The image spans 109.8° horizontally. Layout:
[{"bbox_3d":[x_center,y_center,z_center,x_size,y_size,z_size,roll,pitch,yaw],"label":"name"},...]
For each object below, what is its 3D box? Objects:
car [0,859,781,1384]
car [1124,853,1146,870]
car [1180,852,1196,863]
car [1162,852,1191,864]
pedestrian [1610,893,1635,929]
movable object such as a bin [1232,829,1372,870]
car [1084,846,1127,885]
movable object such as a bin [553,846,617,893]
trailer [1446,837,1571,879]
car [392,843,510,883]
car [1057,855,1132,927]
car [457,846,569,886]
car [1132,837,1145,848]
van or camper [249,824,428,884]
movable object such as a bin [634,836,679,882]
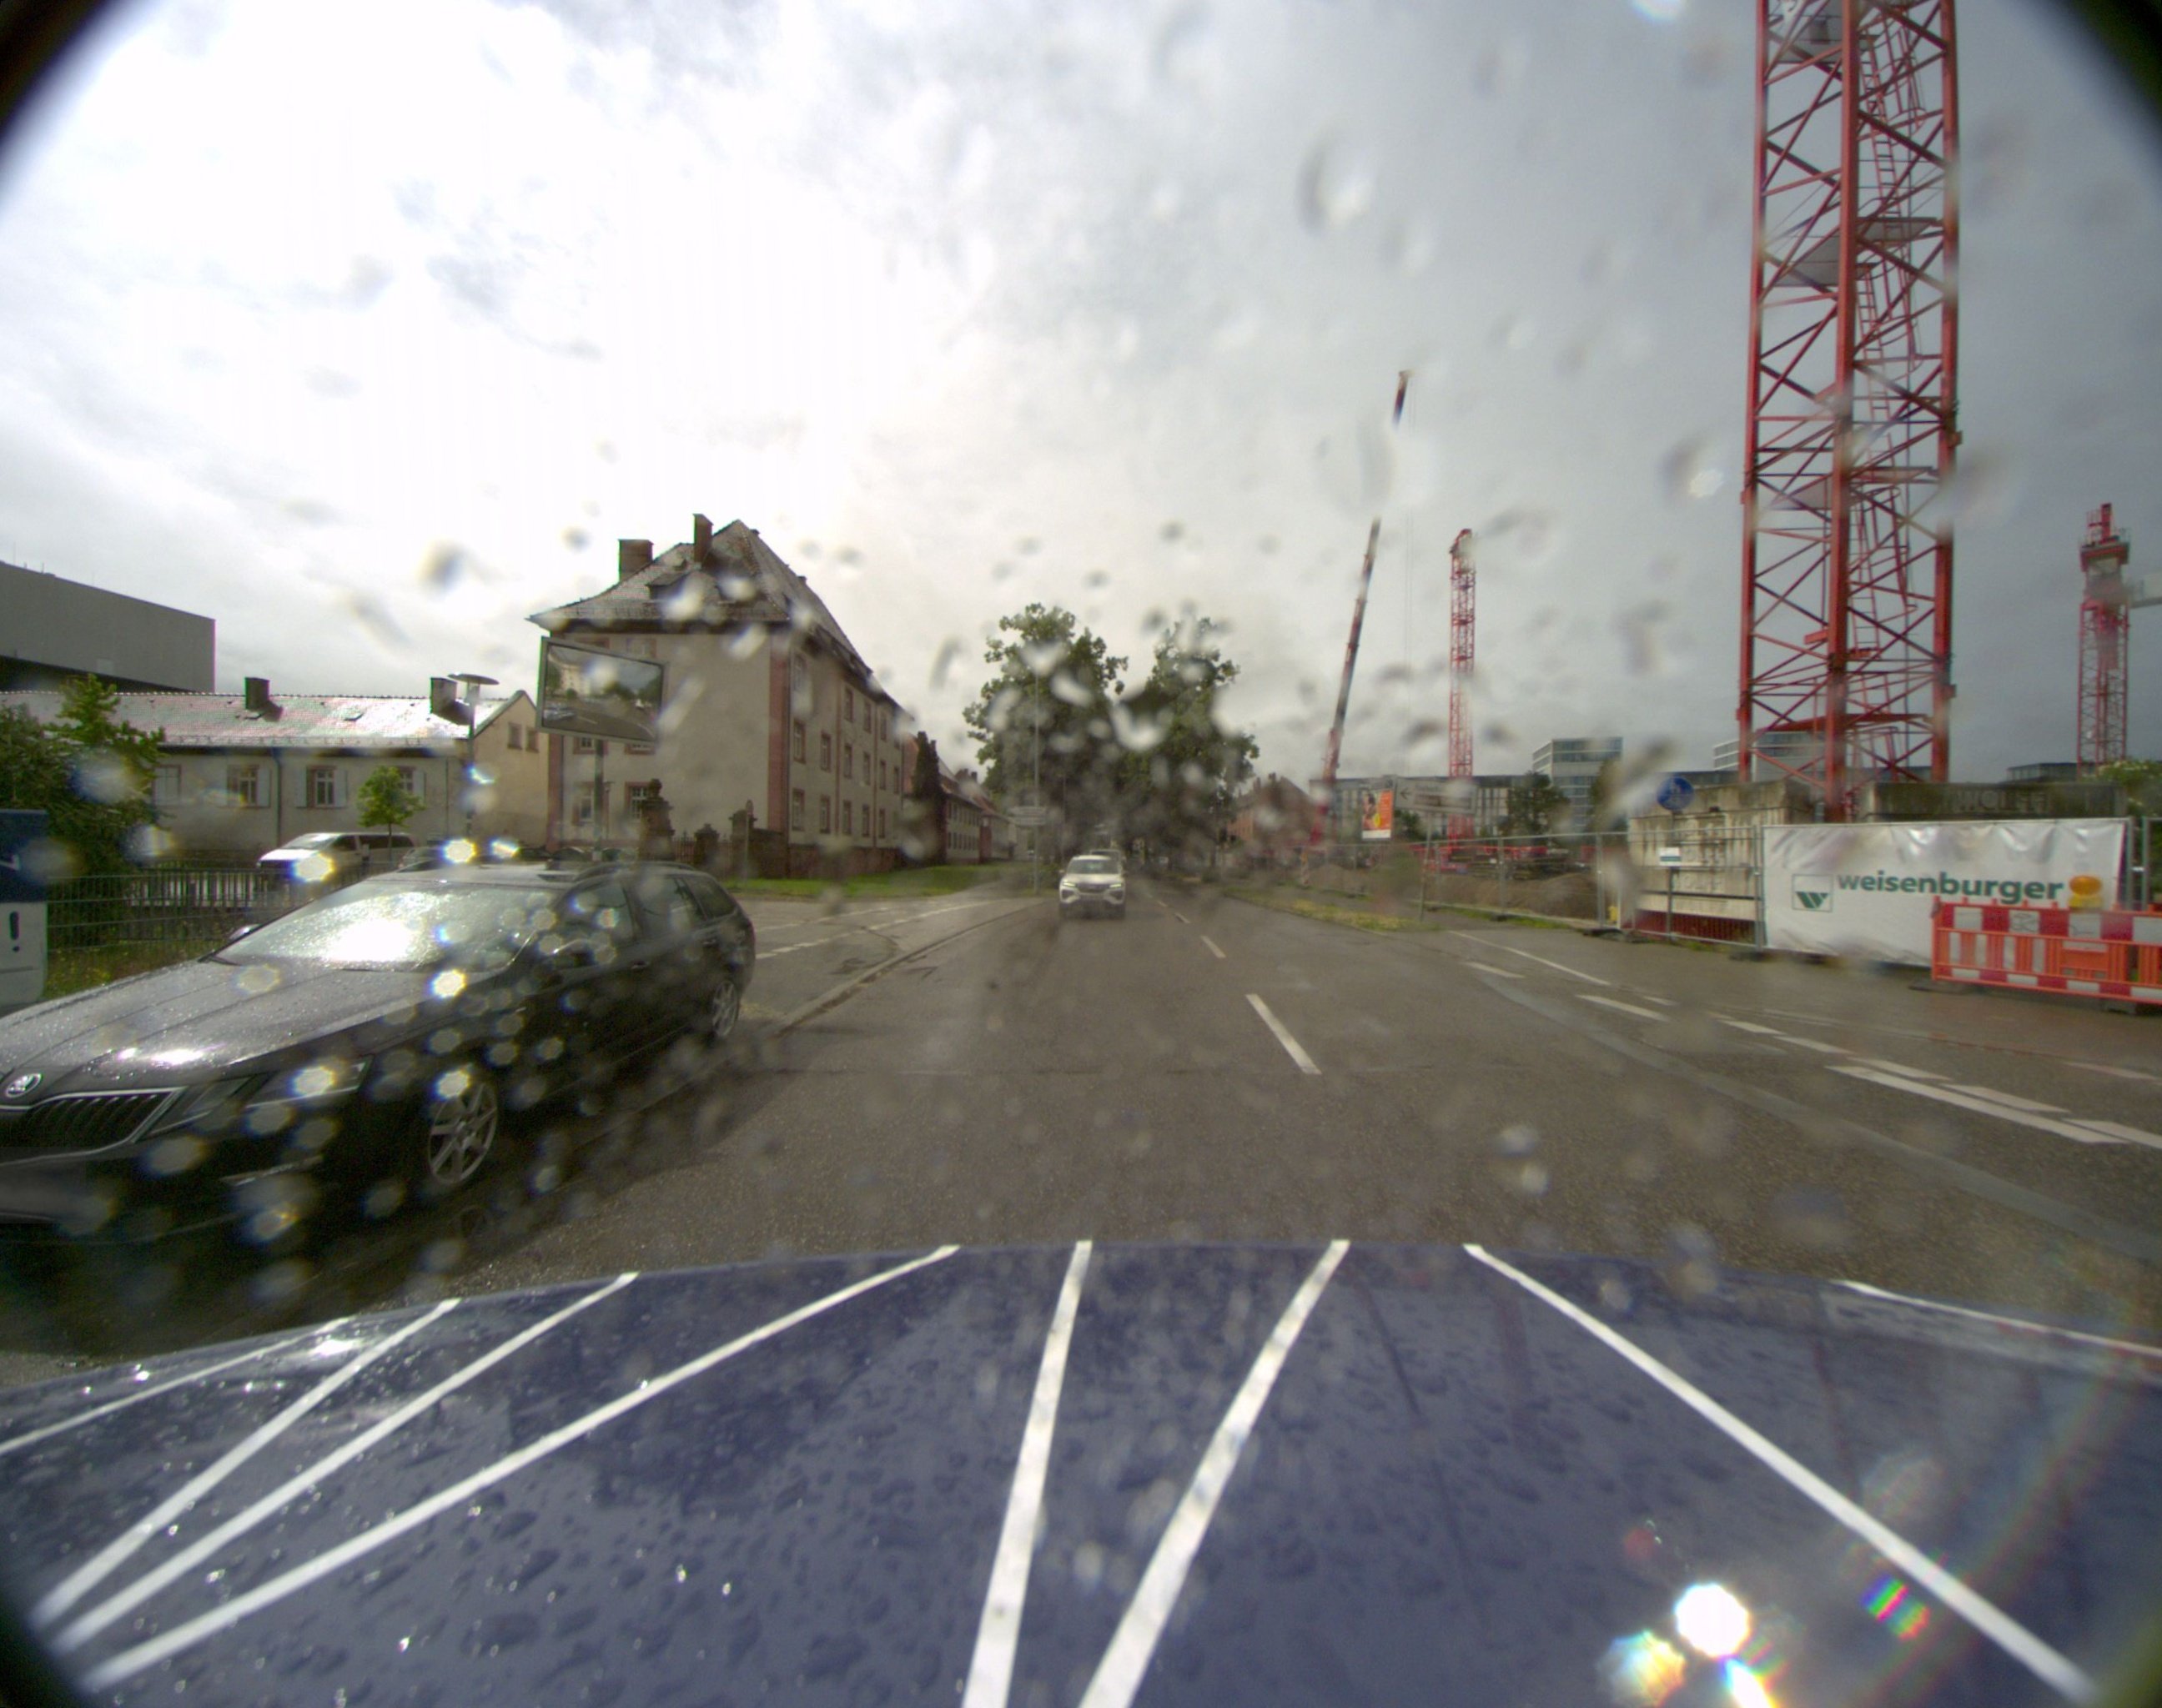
[{"bbox_3d":[-3.582,0.863,4.571,1.778,1.531,4.377,3,0,0],"label":"car"},{"bbox_3d":[4.965,0.666,69.984,1.845,1.598,4.000,0,0,2],"label":"car"},{"bbox_3d":[15.717,0.447,111.469,1.693,1.521,3.999,-1,1,-1],"label":"car"},{"bbox_3d":[13.304,0.534,105.956,3.865,1.543,1.699,-1,1,14],"label":"car"},{"bbox_3d":[27.302,2.866,38.315,0.588,1.675,0.849,4,1,6],"label":"pedestrian"},{"bbox_3d":[26.616,-0.542,92.065,15.941,4.532,3.102,-1,1,4],"label":"movable object such as a bin"},{"bbox_3d":[1.294,0.579,42.896,2.107,1.990,5.432,-1,1,-1],"label":"car"},{"bbox_3d":[-16.235,0.497,24.902,1.108,1.448,1.391,2,0,2],"label":"movable object such as a bin"},{"bbox_3d":[37.545,0.198,67.831,2.968,3.214,14.307,-3,1,0],"label":"trailer"},{"bbox_3d":[-24.845,0.352,30.132,1.598,1.438,3.575,2,0,2],"label":"car"},{"bbox_3d":[0.319,0.813,18.495,1.608,1.499,4.000,-1,1,1],"label":"car"},{"bbox_3d":[-22.103,0.449,29.739,1.598,1.438,3.575,2,0,2],"label":"car"},{"bbox_3d":[8.969,-1.785,118.984,1.817,1.531,3.983,3,0,3],"label":"car"},{"bbox_3d":[-28.842,0.008,29.828,1.793,2.104,5.186,-1,0,2],"label":"van or camper"},{"bbox_3d":[-13.860,0.168,24.827,0.801,1.448,1.097,2,0,2],"label":"movable object such as a bin"}]
